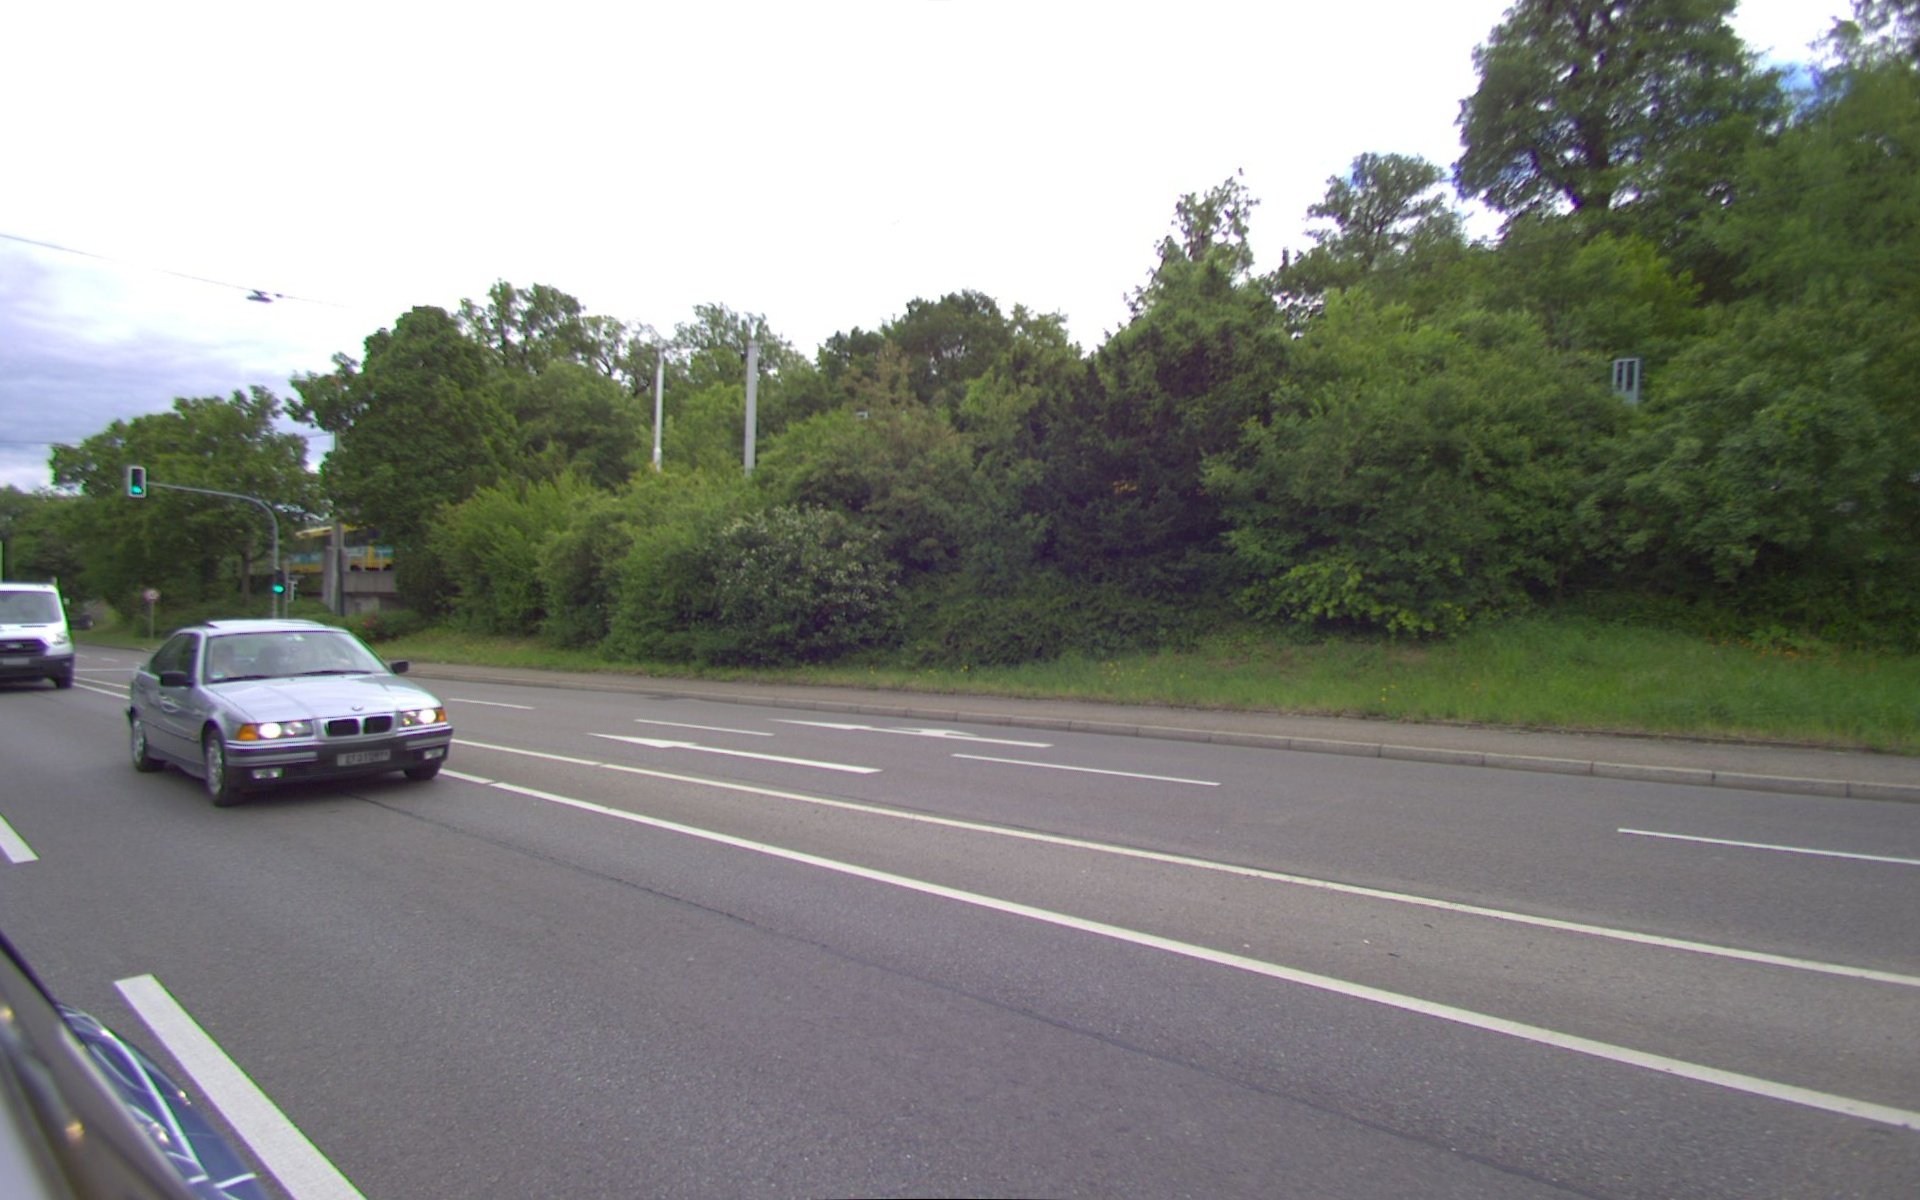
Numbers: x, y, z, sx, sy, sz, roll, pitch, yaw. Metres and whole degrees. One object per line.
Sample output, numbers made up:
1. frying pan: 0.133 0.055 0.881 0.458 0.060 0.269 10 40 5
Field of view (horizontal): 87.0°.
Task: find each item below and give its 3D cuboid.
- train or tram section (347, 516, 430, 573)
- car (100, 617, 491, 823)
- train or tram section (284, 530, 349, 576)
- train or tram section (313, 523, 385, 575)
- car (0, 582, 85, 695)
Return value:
1. train or tram section: -34.117 -3.192 60.278 8.155 3.066 2.034 0 1 44
2. car: -6.127 0.862 9.092 4.612 1.404 1.735 -1 -2 41
3. train or tram section: -45.719 -3.256 71.809 8.156 3.066 2.034 1 1 44
4. train or tram section: -39.940 -3.233 66.040 8.155 3.066 2.034 0 1 44
5. car: -20.733 0.778 21.461 6.663 2.142 2.225 -1 -1 40
